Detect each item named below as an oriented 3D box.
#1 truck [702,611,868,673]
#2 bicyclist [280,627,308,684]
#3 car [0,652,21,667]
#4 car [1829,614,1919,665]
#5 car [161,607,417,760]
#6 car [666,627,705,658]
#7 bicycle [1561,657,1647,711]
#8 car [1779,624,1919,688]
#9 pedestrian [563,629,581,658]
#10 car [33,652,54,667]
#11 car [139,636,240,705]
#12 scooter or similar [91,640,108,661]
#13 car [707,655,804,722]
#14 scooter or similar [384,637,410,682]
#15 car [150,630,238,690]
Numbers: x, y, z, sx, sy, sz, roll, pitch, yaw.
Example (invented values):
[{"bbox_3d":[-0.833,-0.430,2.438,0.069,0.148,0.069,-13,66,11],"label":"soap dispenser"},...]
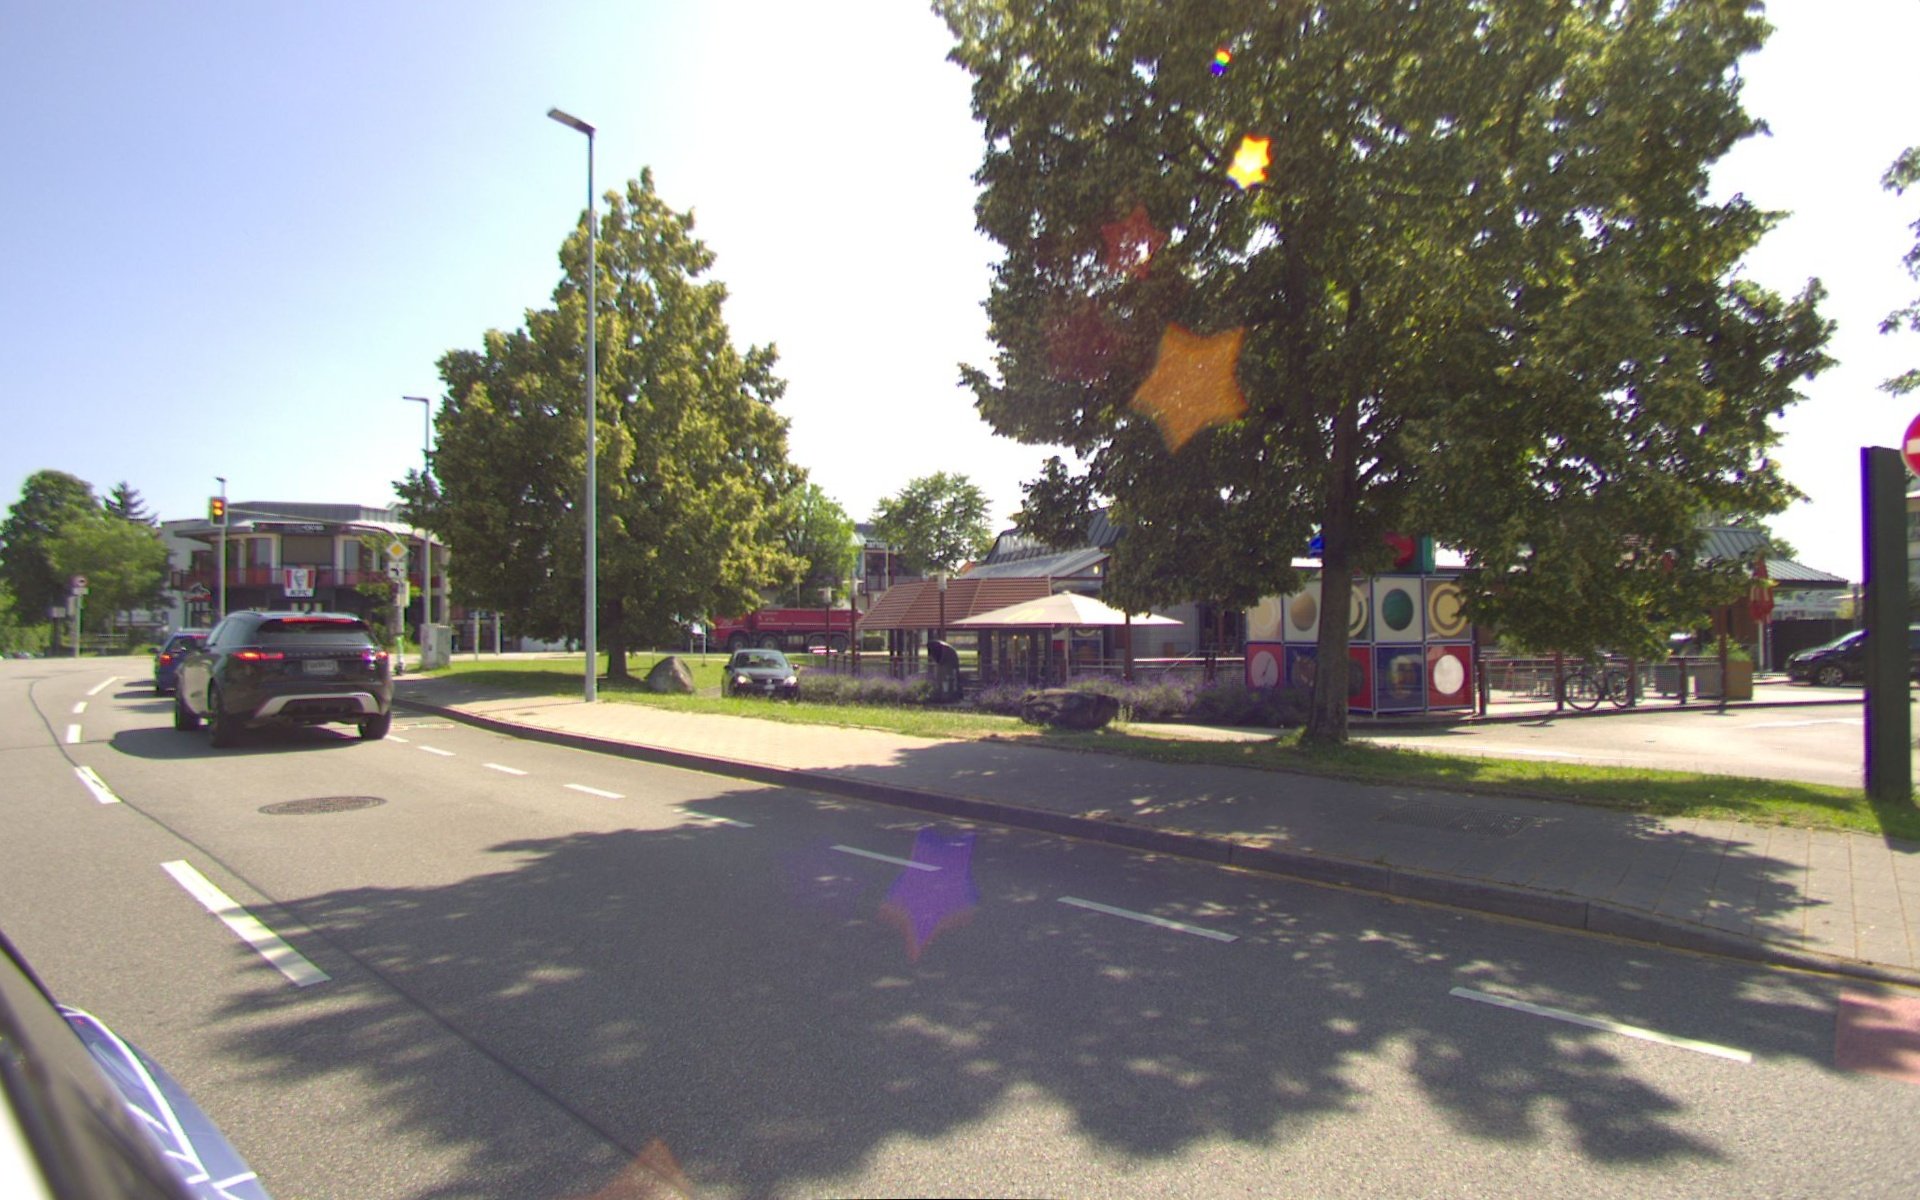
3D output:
[{"bbox_3d":[-10.190,2.427,58.964,9.009,3.412,3.325,0,-3,-22],"label":"truck"},{"bbox_3d":[-21.329,1.776,32.409,0.700,1.802,0.811,1,-3,-33],"label":"bicyclist"},{"bbox_3d":[-103.781,6.525,110.514,1.647,1.544,4.005,2,-3,-42],"label":"car"},{"bbox_3d":[41.301,1.727,44.082,1.965,2.194,4.819,1,-3,-27],"label":"car"},{"bbox_3d":[-9.192,1.031,13.693,4.614,1.708,1.928,-2,-3,44],"label":"car"},{"bbox_3d":[-17.276,2.675,63.583,1.777,1.870,4.674,1,-3,-22],"label":"car"},{"bbox_3d":[12.316,1.592,19.344,1.826,1.000,0.309,1,-3,-20],"label":"bicycle"},{"bbox_3d":[25.644,1.533,27.965,4.327,1.697,1.759,-1,-3,27],"label":"car"},{"bbox_3d":[-22.346,2.489,58.261,0.723,1.658,0.842,0,-2,-2],"label":"pedestrian"},{"bbox_3d":[-112.807,7.304,124.585,1.647,1.741,4.007,-3,0,-39],"label":"car"},{"bbox_3d":[-17.208,1.503,22.694,1.634,1.391,4.009,2,-3,-36],"label":"car"},{"bbox_3d":[-48.051,2.810,56.521,0.420,1.132,1.456,1,-3,-28],"label":"scooter or similar"},{"bbox_3d":[-5.484,2.268,26.769,1.833,1.564,4.201,1,-2,-21],"label":"car"},{"bbox_3d":[-15.370,1.610,27.634,0.465,1.193,1.369,2,-3,-35],"label":"scooter or similar"},{"bbox_3d":[-20.824,1.589,27.614,1.756,1.508,4.733,2,-3,-36],"label":"car"}]
